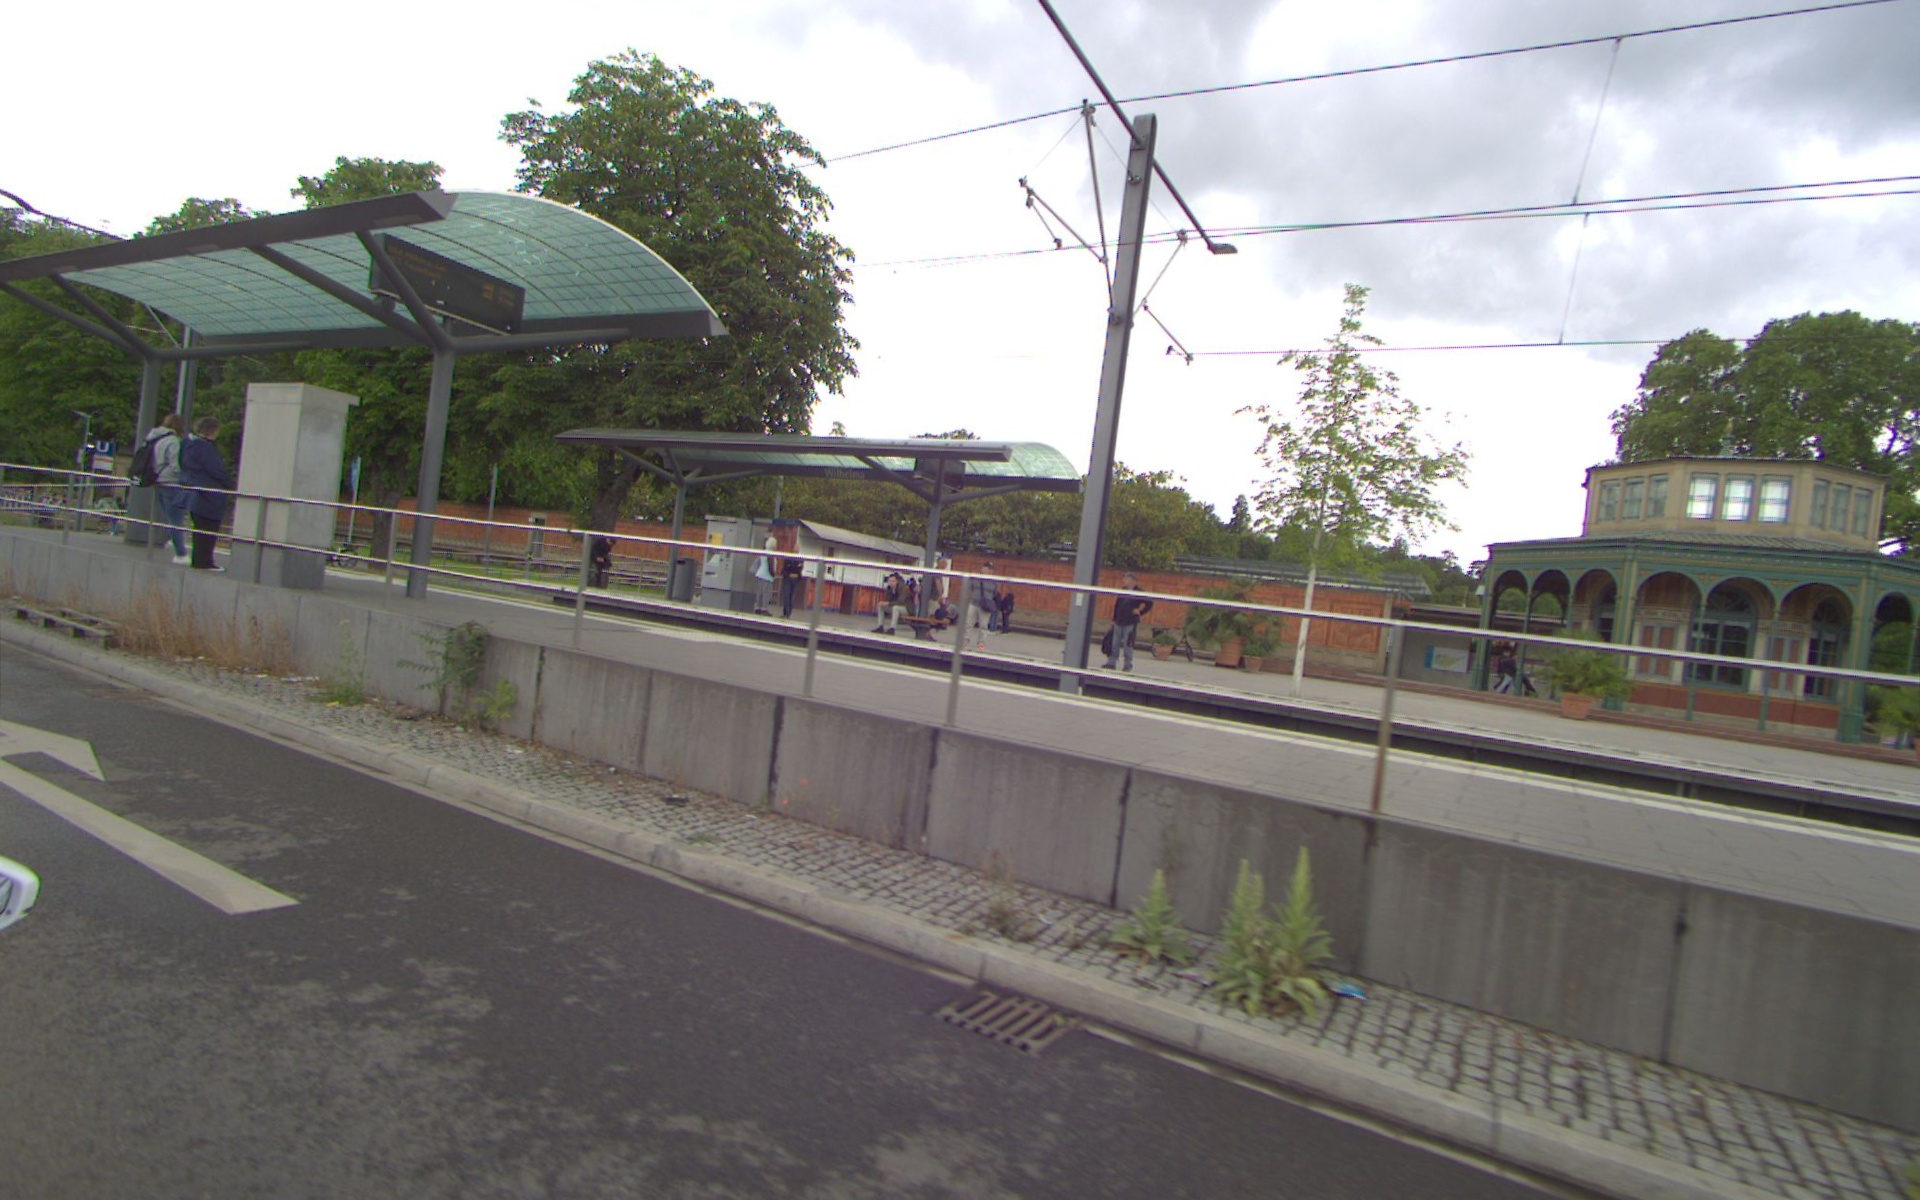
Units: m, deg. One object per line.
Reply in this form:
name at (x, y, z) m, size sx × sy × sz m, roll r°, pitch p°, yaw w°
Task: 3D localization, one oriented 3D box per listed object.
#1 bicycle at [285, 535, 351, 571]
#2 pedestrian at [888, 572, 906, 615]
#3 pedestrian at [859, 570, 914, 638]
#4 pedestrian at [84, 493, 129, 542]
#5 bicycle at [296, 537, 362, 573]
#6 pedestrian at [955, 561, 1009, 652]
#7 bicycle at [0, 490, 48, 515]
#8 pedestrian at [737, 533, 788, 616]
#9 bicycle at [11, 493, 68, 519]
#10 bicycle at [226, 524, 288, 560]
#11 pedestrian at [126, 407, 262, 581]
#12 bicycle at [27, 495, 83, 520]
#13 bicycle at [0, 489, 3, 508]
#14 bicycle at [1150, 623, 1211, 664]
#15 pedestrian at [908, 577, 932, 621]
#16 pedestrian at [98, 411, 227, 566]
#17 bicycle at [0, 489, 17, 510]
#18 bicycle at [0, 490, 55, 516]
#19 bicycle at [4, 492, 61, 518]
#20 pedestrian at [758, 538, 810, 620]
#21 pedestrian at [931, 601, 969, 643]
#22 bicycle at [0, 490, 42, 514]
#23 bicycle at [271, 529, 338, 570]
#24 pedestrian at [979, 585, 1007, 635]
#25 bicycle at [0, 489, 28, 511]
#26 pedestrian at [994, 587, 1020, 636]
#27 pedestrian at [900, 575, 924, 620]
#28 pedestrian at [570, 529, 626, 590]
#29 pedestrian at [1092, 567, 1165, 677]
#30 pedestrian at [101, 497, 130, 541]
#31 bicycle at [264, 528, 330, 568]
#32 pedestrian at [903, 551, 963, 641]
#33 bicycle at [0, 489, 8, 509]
bicycle at (-22.978, -1.659, 36.032) m, size 0.524 × 0.974 × 1.878 m, roll 7°, pitch -3°, yaw 31°
pedestrian at (-2.304, -0.241, 36.881) m, size 0.311 × 1.504 × 0.342 m, roll 7°, pitch -2°, yaw 33°
pedestrian at (-1.436, 0.075, 19.765) m, size 0.664 × 1.204 × 0.659 m, roll 7°, pitch -2°, yaw 32°
pedestrian at (-30.645, -2.949, 36.135) m, size 0.763 × 1.629 × 0.835 m, roll 7°, pitch 1°, yaw 8°
bicycle at (-22.358, -1.575, 35.687) m, size 0.524 × 0.974 × 1.878 m, roll 7°, pitch -3°, yaw 31°
pedestrian at (0.418, 0.127, 19.407) m, size 0.664 × 1.638 × 0.525 m, roll 7°, pitch -2°, yaw 32°
bicycle at (-46.634, -4.834, 49.930) m, size 0.522 × 0.987 × 1.914 m, roll 8°, pitch 0°, yaw 31°
pedestrian at (-4.291, -0.553, 21.853) m, size 0.664 × 1.696 × 0.545 m, roll 7°, pitch -2°, yaw 27°
bicycle at (-44.658, -4.553, 48.810) m, size 0.522 × 0.987 × 1.914 m, roll 8°, pitch 0°, yaw 31°
bicycle at (-26.523, -2.181, 37.972) m, size 0.475 × 1.045 × 1.768 m, roll 7°, pitch -3°, yaw 31°
pedestrian at (-8.393, -1.150, 11.029) m, size 0.719 × 1.719 × 0.772 m, roll 9°, pitch -1°, yaw 32°
bicycle at (-43.590, -4.455, 48.475) m, size 0.522 × 0.907 × 1.915 m, roll 8°, pitch 0°, yaw 31°
bicycle at (-51.390, -5.455, 52.521) m, size 0.522 × 0.987 × 1.914 m, roll 8°, pitch 0°, yaw 31°
bicycle at (6.977, 1.373, 31.811) m, size 1.684 × 1.073 × 0.564 m, roll 8°, pitch -2°, yaw 0°
pedestrian at (-1.431, -0.035, 35.832) m, size 0.452 × 1.504 × 0.486 m, roll 7°, pitch -2°, yaw 33°
pedestrian at (-9.047, -1.255, 11.426) m, size 0.762 × 1.571 × 0.752 m, roll 9°, pitch -1°, yaw 32°
bicycle at (-49.907, -5.290, 51.747) m, size 0.522 × 0.987 × 1.914 m, roll 8°, pitch 0°, yaw 31°
bicycle at (-45.995, -4.761, 49.589) m, size 0.522 × 0.987 × 1.914 m, roll 8°, pitch 0°, yaw 31°
bicycle at (-45.227, -4.622, 49.090) m, size 0.522 × 0.987 × 1.914 m, roll 8°, pitch 0°, yaw 31°
pedestrian at (-3.933, -0.465, 22.546) m, size 0.665 × 1.696 × 0.675 m, roll 7°, pitch -2°, yaw 27°
pedestrian at (-0.205, 0.450, 20.268) m, size 0.418 × 0.749 × 0.561 m, roll 6°, pitch -2°, yaw 39°
bicycle at (-47.297, -4.923, 50.309) m, size 0.522 × 0.987 × 1.914 m, roll 8°, pitch 0°, yaw 31°
bicycle at (-23.704, -1.826, 36.391) m, size 0.524 × 1.152 × 1.878 m, roll 7°, pitch -3°, yaw 31°
pedestrian at (1.147, 0.345, 34.860) m, size 0.610 × 1.601 × 0.657 m, roll 7°, pitch -2°, yaw 17°
bicycle at (-49.126, -5.199, 51.505) m, size 0.522 × 0.987 × 1.914 m, roll 8°, pitch 0°, yaw 31°
pedestrian at (1.661, 0.412, 35.453) m, size 0.611 × 1.601 × 0.586 m, roll 7°, pitch -2°, yaw 18°
pedestrian at (-1.730, -0.080, 36.296) m, size 0.452 × 1.553 × 0.486 m, roll 7°, pitch -2°, yaw 33°
pedestrian at (-8.928, -0.991, 24.839) m, size 0.951 × 1.338 × 0.675 m, roll 7°, pitch -2°, yaw 29°
pedestrian at (3.074, 0.401, 18.355) m, size 0.934 × 1.859 × 0.634 m, roll 7°, pitch -2°, yaw 32°
pedestrian at (-31.250, -2.991, 37.237) m, size 0.506 × 1.521 × 0.498 m, roll 7°, pitch 1°, yaw 8°
bicycle at (-24.396, -1.902, 37.063) m, size 0.524 × 1.152 × 1.878 m, roll 7°, pitch -3°, yaw 31°
pedestrian at (-0.549, -0.071, 20.574) m, size 0.747 × 1.696 × 0.863 m, roll 7°, pitch -2°, yaw 20°
bicycle at (-50.604, -5.369, 51.963) m, size 0.522 × 0.987 × 1.914 m, roll 8°, pitch 0°, yaw 31°
